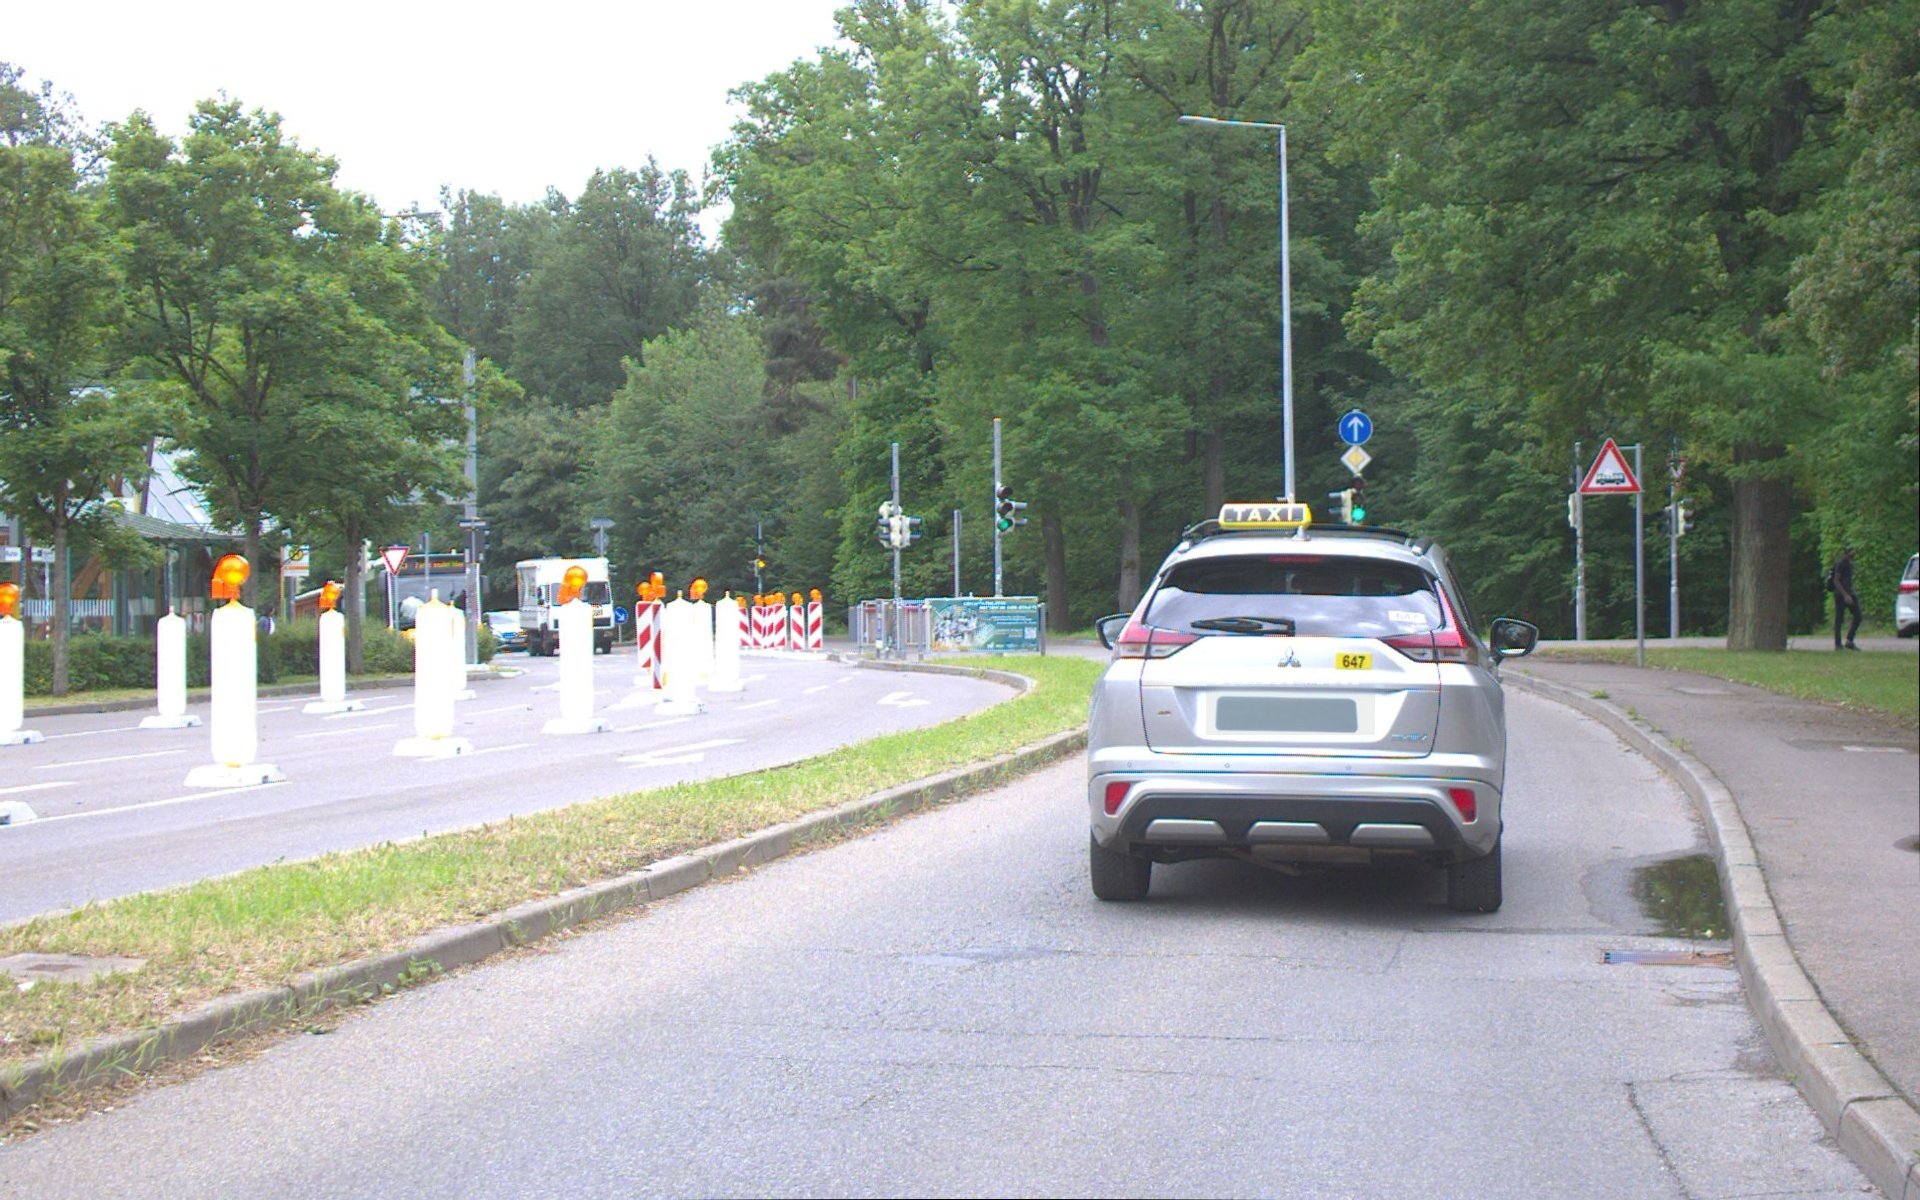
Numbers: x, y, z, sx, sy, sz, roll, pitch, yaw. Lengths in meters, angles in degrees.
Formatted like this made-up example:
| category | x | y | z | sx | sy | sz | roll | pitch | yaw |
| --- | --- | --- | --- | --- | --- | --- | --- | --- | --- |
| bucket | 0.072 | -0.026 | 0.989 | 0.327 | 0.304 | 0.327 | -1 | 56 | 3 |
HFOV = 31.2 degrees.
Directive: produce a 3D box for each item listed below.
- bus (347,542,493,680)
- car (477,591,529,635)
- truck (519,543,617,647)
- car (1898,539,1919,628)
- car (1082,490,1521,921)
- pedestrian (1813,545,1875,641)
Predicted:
| category | x | y | z | sx | sy | sz | roll | pitch | yaw |
| --- | --- | --- | --- | --- | --- | --- | --- | --- | --- |
| bus | -15.179 | 0.208 | 95.850 | 2.821 | 3.591 | 12.808 | -1 | 1 | -14 |
| car | -16.844 | 0.455 | 126.660 | 1.555 | 1.523 | 3.827 | 0 | 1 | -13 |
| truck | -13.069 | -0.176 | 114.078 | 2.483 | 3.275 | 8.521 | -1 | 0 | -11 |
| car | 17.931 | -0.317 | 61.106 | 1.836 | 1.531 | 3.995 | 0 | 1 | 24 |
| car | 1.589 | 0.438 | 15.930 | 1.774 | 1.742 | 3.779 | 0 | 0 | 6 |
| pedestrian | 13.997 | -0.120 | 54.438 | 0.841 | 1.501 | 0.789 | 0 | 1 | 23 |
